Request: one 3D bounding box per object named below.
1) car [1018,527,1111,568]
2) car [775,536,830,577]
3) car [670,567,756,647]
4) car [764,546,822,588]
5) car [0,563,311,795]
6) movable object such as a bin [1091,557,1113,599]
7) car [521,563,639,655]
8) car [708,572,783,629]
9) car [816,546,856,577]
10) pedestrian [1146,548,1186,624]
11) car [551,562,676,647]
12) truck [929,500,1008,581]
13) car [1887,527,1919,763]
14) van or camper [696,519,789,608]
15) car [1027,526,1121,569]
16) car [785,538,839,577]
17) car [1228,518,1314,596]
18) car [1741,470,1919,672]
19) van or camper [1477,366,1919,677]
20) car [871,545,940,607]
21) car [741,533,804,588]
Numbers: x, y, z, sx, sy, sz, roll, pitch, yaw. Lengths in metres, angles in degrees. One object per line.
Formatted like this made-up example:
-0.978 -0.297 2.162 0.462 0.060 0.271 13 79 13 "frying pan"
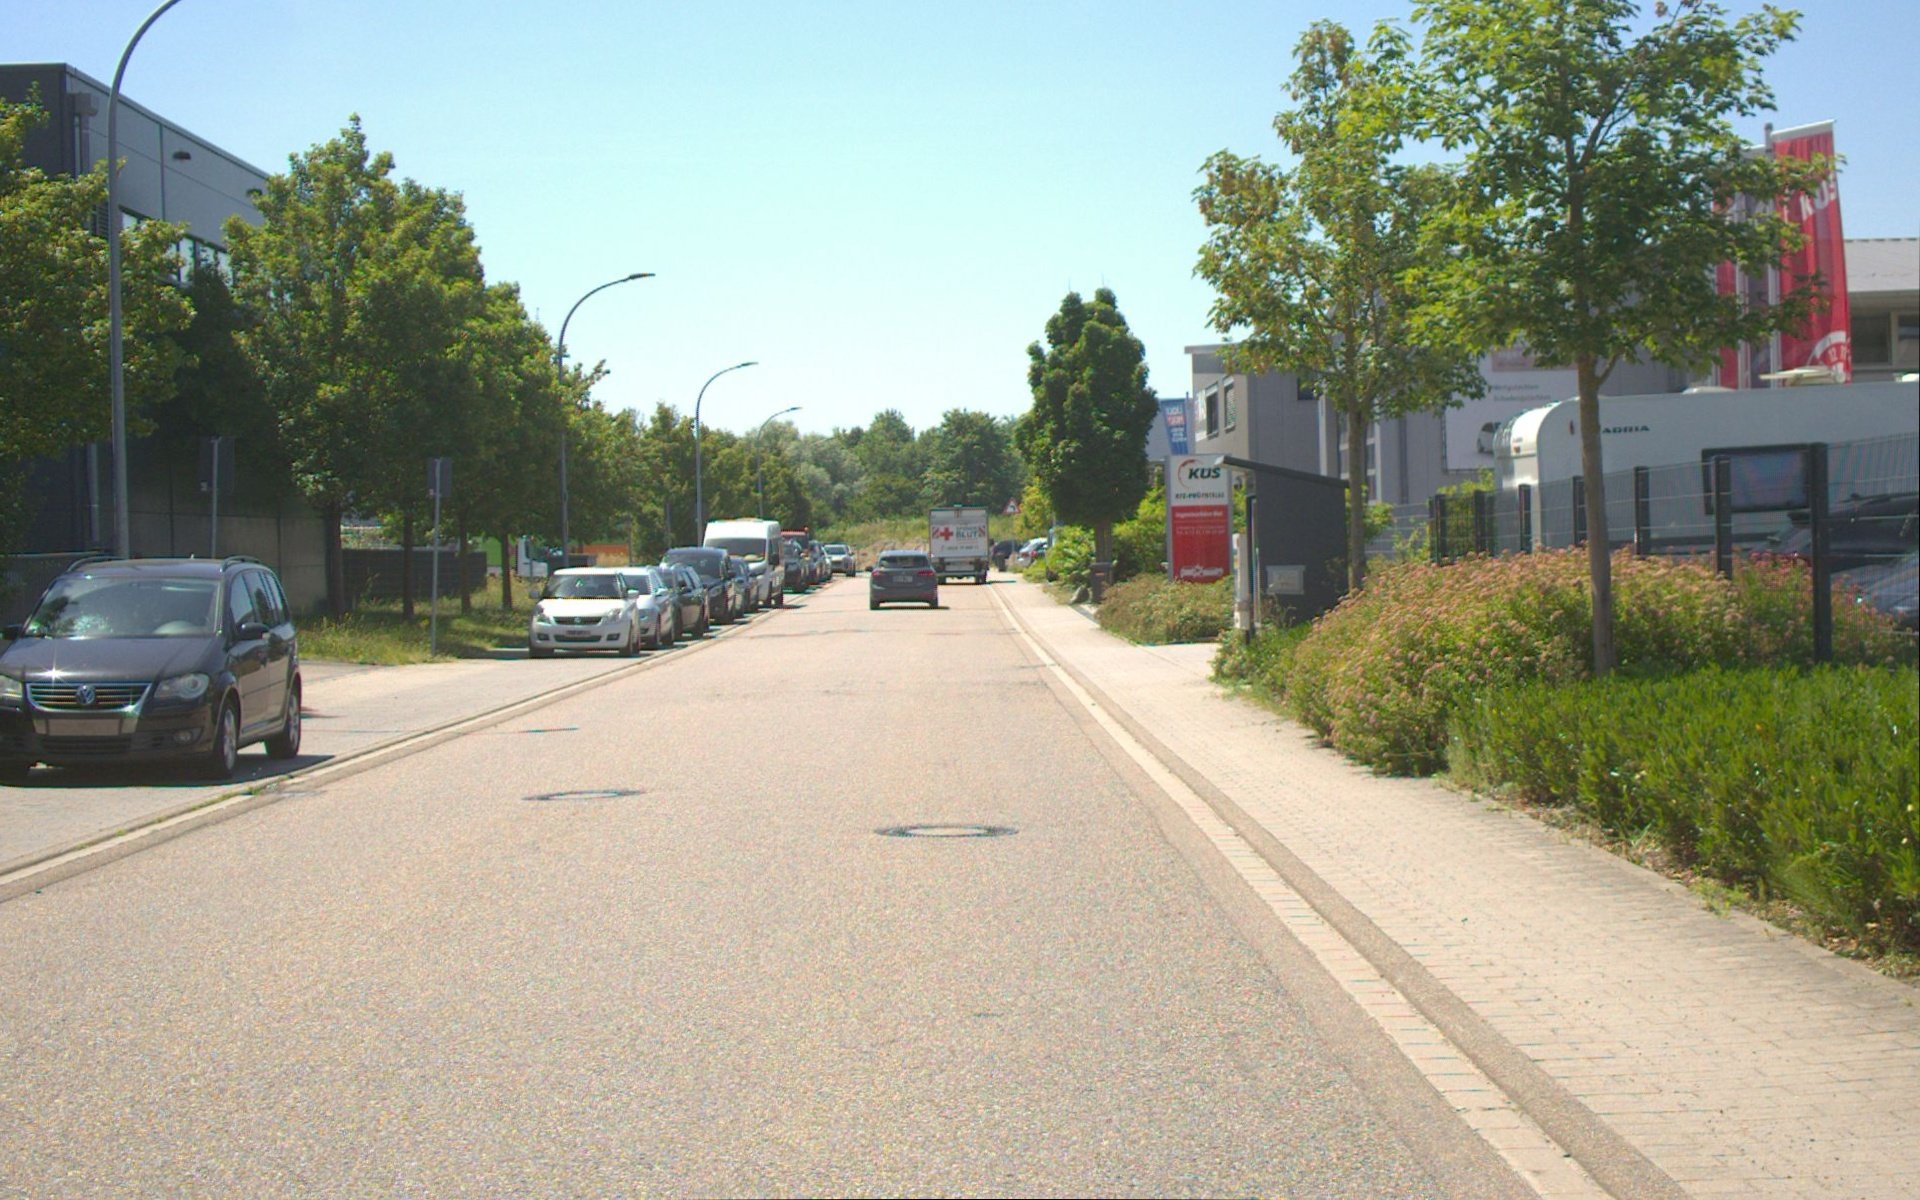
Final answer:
4.506 -2.264 148.608 3.875 1.744 1.752 1 1 -2 "car"
-6.044 -1.689 132.319 1.799 1.482 4.252 -1 1 2 "car"
-5.882 0.142 82.324 1.799 1.808 4.252 -1 1 -1 "car"
-6.173 -1.234 127.248 1.799 1.482 4.252 -1 1 2 "car"
-6.247 0.540 26.450 1.770 1.606 4.248 -1 1 -1 "car"
3.615 -0.571 87.511 0.531 1.049 0.845 -2 1 2 "movable object such as a bin"
-6.418 0.129 58.401 1.720 1.471 3.858 -1 1 -2 "car"
-5.754 0.000 92.755 1.799 1.444 4.252 -1 1 -1 "car"
-6.365 -2.000 176.857 1.799 1.482 4.252 -1 1 2 "car"
4.500 -0.310 75.108 0.499 1.608 0.714 -6 1 -18 "pedestrian"
-6.375 0.057 63.663 1.799 1.471 4.555 -1 1 0 "car"
0.328 -2.246 130.809 2.933 2.963 6.419 1 1 0 "truck"
7.765 0.173 20.562 3.839 1.435 1.806 -3 1 -4 "car"
-6.263 -1.057 99.686 2.079 2.474 6.130 1 1 2 "van or camper"
4.839 -2.226 146.120 3.875 1.744 1.752 1 1 -2 "car"
-5.864 -1.699 136.637 1.799 1.482 4.252 -1 1 2 "car"
7.672 -1.043 85.155 1.785 1.777 4.905 -3 0 2 "car"
8.655 -0.326 27.898 4.137 1.531 1.808 -3 1 -1 "car"
8.323 -0.759 31.192 6.757 2.576 2.636 -2 1 -1 "van or camper"
-1.430 -0.657 91.939 1.789 1.618 3.809 1 1 0 "car"
-6.515 -1.383 119.723 1.799 1.842 4.252 -1 1 2 "car"
